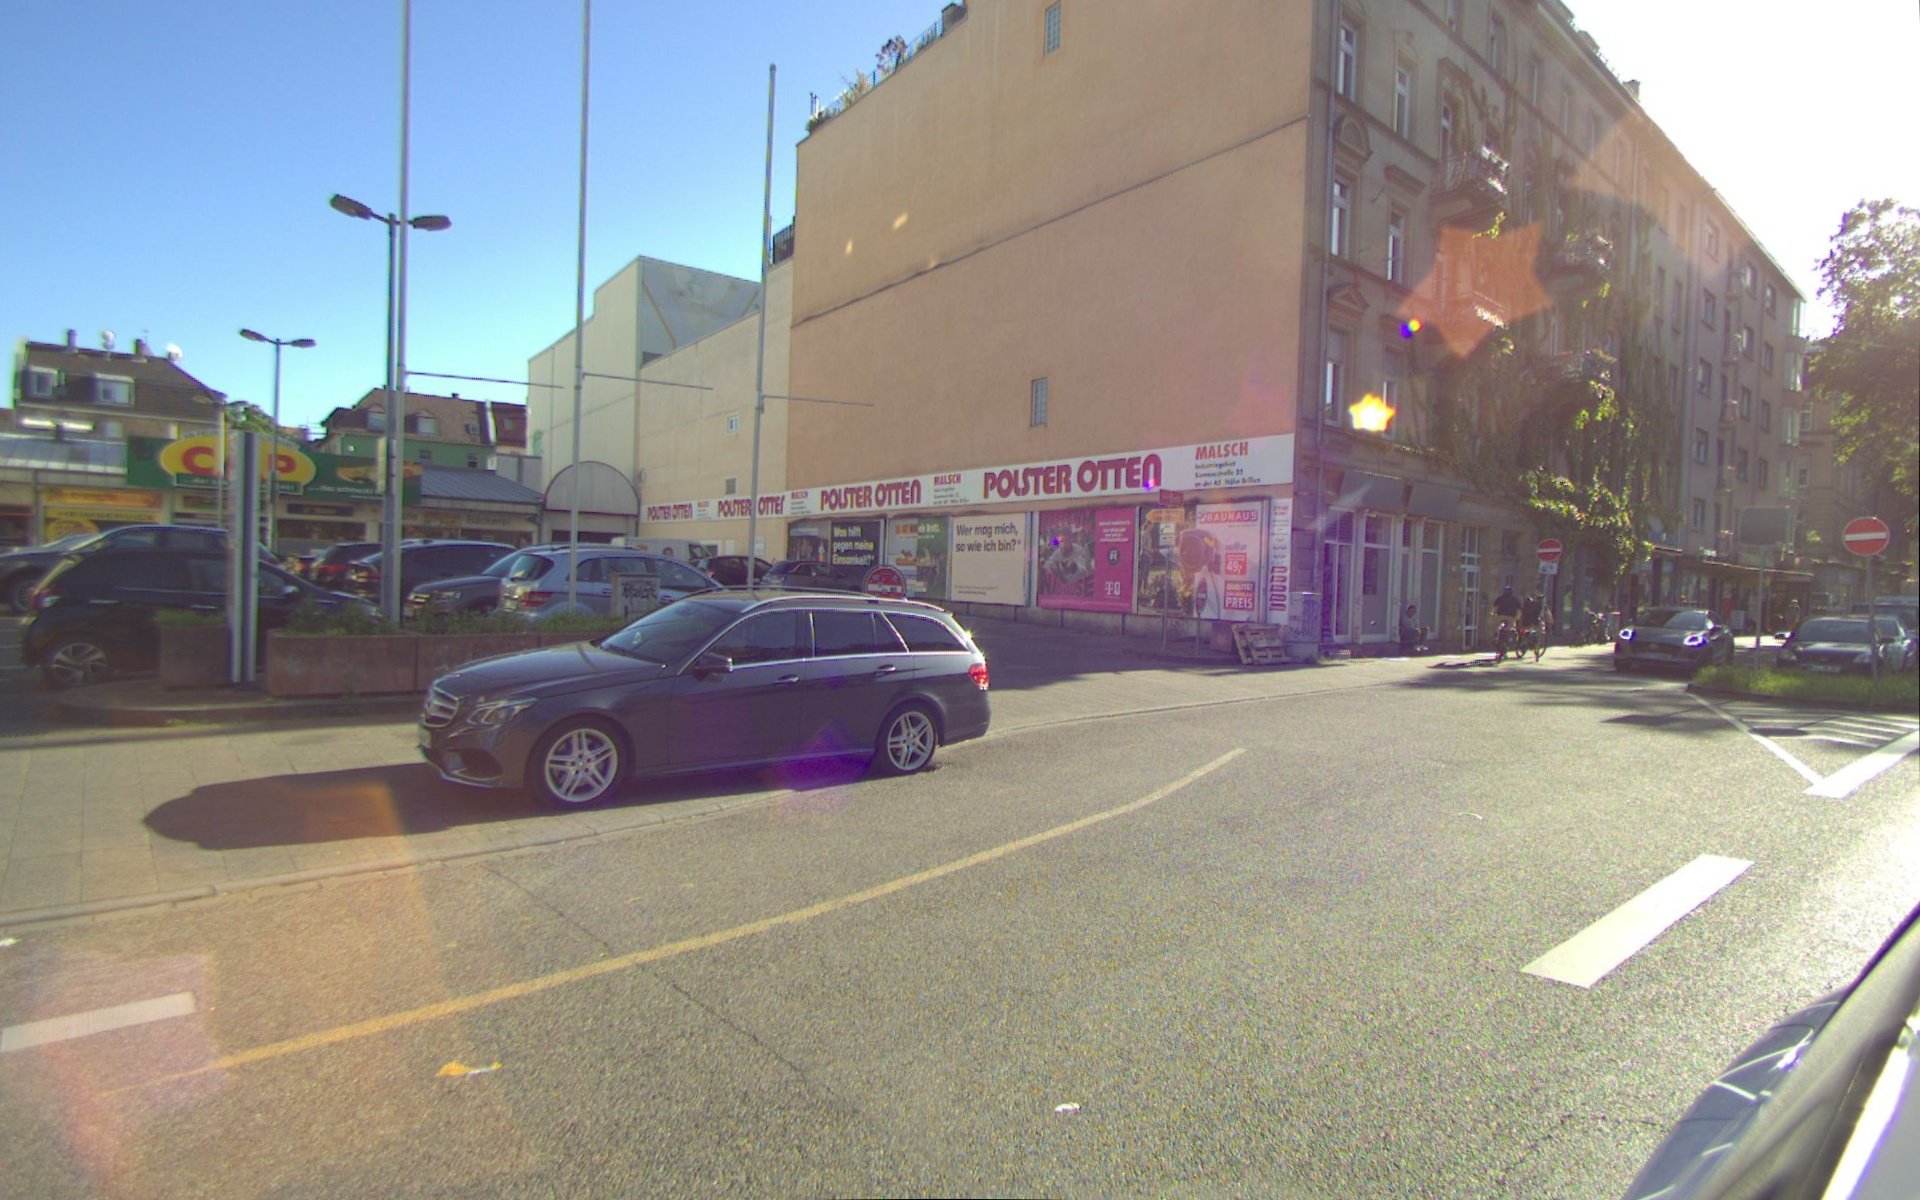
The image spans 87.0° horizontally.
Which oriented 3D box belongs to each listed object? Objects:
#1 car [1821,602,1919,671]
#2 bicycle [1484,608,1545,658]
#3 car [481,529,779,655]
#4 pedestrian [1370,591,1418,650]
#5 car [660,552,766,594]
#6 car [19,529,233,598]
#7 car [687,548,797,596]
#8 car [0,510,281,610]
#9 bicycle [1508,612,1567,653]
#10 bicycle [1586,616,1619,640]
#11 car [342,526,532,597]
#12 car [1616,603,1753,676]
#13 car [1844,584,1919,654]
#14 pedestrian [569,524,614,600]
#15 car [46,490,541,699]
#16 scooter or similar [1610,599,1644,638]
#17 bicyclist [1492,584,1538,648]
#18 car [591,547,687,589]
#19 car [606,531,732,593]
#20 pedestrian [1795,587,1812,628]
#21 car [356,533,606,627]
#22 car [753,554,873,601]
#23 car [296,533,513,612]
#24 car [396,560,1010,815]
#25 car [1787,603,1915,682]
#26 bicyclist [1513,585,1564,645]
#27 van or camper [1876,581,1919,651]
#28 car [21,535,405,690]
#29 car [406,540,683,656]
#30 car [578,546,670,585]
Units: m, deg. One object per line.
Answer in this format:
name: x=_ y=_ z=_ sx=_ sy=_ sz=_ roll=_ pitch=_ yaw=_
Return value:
car: x=22.300 y=0.835 z=24.513 sx=3.932 sy=1.537 sz=1.740 roll=0 pitch=-1 yaw=-43
bicycle: x=13.179 y=0.760 z=24.033 sx=0.756 sy=1.116 sz=1.922 roll=3 pitch=2 yaw=44
car: x=-4.887 y=-0.140 z=15.332 sx=3.934 sy=1.665 sz=1.746 roll=0 pitch=2 yaw=-45
pedestrian: x=10.158 y=0.472 z=23.693 sx=0.701 sy=1.275 sz=0.717 roll=1 pitch=5 yaw=-41
car: x=-9.433 y=-1.032 z=38.646 sx=3.575 sy=1.552 sz=1.682 roll=-1 pitch=2 yaw=-35
car: x=-20.388 y=-0.860 z=24.877 sx=3.930 sy=1.538 sz=1.725 roll=1 pitch=2 yaw=-41
car: x=-7.949 y=-1.030 z=37.042 sx=3.575 sy=1.690 sz=1.682 roll=-1 pitch=2 yaw=-35
car: x=-15.371 y=-0.695 z=18.880 sx=4.305 sy=1.687 sz=1.758 roll=0 pitch=2 yaw=-41
bicycle: x=15.054 y=0.827 z=26.362 sx=1.884 sy=0.930 sz=0.651 roll=-1 pitch=7 yaw=-40
bicycle: x=20.455 y=0.874 z=32.224 sx=1.486 sy=0.714 sz=0.469 roll=1 pitch=1 yaw=-41
car: x=-12.840 y=-0.916 z=24.984 sx=3.870 sy=1.601 sz=1.659 roll=0 pitch=2 yaw=-42
car: x=17.305 y=0.875 z=24.114 sx=4.304 sy=1.547 sz=1.700 roll=0 pitch=1 yaw=-41
car: x=26.086 y=0.503 z=28.000 sx=3.929 sy=1.785 sz=1.868 roll=1 pitch=2 yaw=-40
pedestrian: x=-10.240 y=-1.045 z=28.105 sx=0.907 sy=2.039 sz=0.818 roll=1 pitch=1 yaw=-40
car: x=-6.416 y=-0.091 z=10.012 sx=3.839 sy=1.665 sz=1.651 roll=0 pitch=3 yaw=-45
scooter or similar: x=21.503 y=0.574 z=32.659 sx=0.631 sy=1.188 sz=1.720 roll=2 pitch=2 yaw=25
bicyclist: x=13.177 y=0.354 z=24.018 sx=0.745 sy=1.480 sz=0.936 roll=0 pitch=0 yaw=45
car: x=-14.955 y=-1.472 z=47.213 sx=3.967 sy=1.823 sz=1.664 roll=1 pitch=2 yaw=-30
car: x=-12.258 y=-1.568 z=42.771 sx=4.787 sy=2.442 sz=1.712 roll=1 pitch=2 yaw=-32
pedestrian: x=38.786 y=0.321 z=46.514 sx=0.507 sy=1.856 sz=0.469 roll=1 pitch=1 yaw=-41
car: x=-8.733 y=-0.353 z=18.650 sx=3.871 sy=1.563 sz=1.544 roll=0 pitch=2 yaw=-43
car: x=-4.805 y=-0.759 z=33.319 sx=3.579 sy=1.481 sz=1.680 roll=-1 pitch=3 yaw=-39
car: x=-11.983 y=-0.564 z=21.970 sx=3.870 sy=1.563 sz=1.544 roll=0 pitch=2 yaw=-42
car: x=-1.933 y=0.535 z=8.518 sx=4.649 sy=1.505 sz=1.838 roll=1 pitch=4 yaw=-40
car: x=19.051 y=0.839 z=21.584 sx=3.932 sy=1.537 sz=1.642 roll=0 pitch=-1 yaw=-43
bicyclist: x=14.991 y=0.376 z=26.207 sx=1.161 sy=1.463 sz=0.678 roll=1 pitch=5 yaw=-40
van or camper: x=30.205 y=0.489 z=31.538 sx=5.006 sy=2.038 sz=1.887 roll=0 pitch=2 yaw=-42
car: x=-8.400 y=0.099 z=11.531 sx=3.339 sy=1.504 sz=1.559 roll=0 pitch=2 yaw=-45
car: x=-6.880 y=-0.060 z=17.000 sx=3.933 sy=1.714 sz=1.747 roll=0 pitch=2 yaw=-44
car: x=-16.405 y=-1.658 z=49.473 sx=3.967 sy=1.758 sz=1.664 roll=1 pitch=2 yaw=-30
